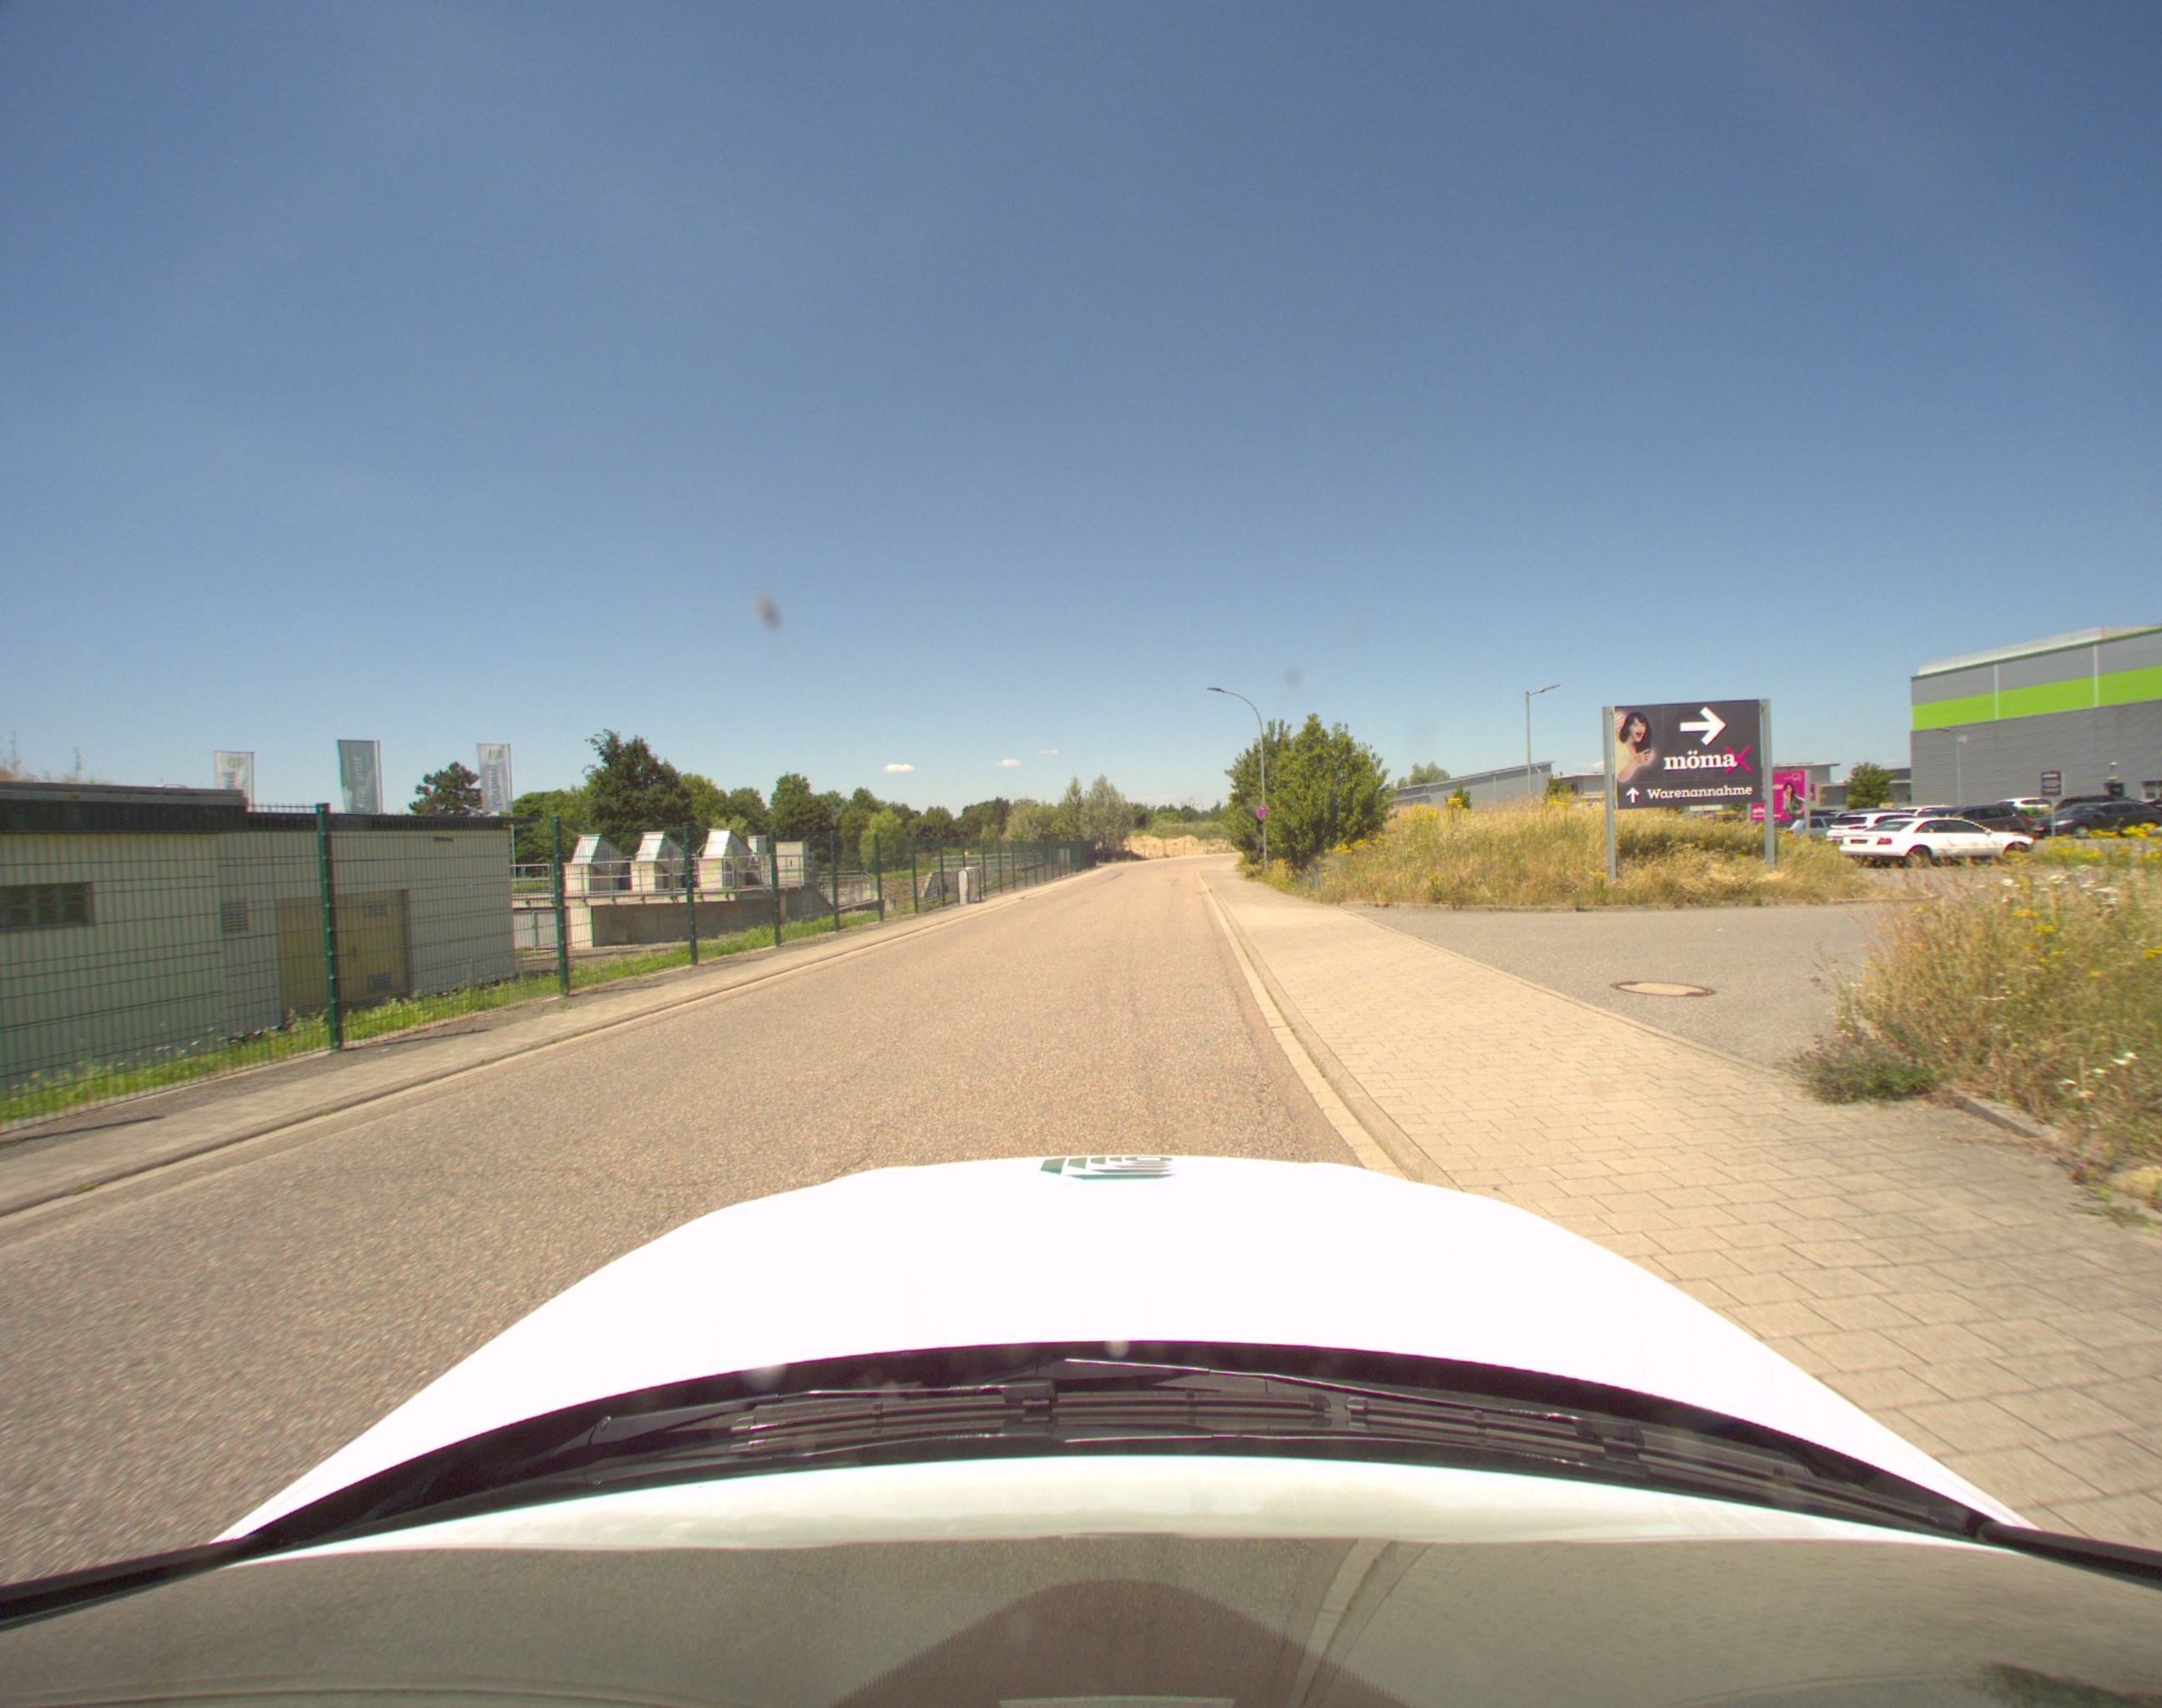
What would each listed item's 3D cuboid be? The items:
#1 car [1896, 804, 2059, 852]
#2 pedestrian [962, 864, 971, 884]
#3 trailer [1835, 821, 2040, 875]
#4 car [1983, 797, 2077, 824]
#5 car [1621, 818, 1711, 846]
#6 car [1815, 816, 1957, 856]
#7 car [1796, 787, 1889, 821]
[{"bbox_3d":[32.521,-0.929,29.626,3.719,1.570,1.892,-2,0,3],"label":"car"},{"bbox_3d":[-10.463,1.823,74.398,0.602,1.839,0.806,-3,-1,6],"label":"pedestrian"},{"bbox_3d":[24.585,-0.178,23.487,3.971,1.398,1.765,-2,0,2],"label":"trailer"},{"bbox_3d":[62.745,-2.856,53.881,3.977,1.519,1.998,-3,-1,-2],"label":"car"},{"bbox_3d":[33.536,-1.258,46.781,3.719,1.444,1.945,-2,0,3],"label":"car"},{"bbox_3d":[32.431,-0.722,32.910,3.719,1.444,1.945,-2,0,3],"label":"car"},{"bbox_3d":[49.043,-3.196,52.498,3.971,1.848,2.001,-3,-1,2],"label":"car"}]
